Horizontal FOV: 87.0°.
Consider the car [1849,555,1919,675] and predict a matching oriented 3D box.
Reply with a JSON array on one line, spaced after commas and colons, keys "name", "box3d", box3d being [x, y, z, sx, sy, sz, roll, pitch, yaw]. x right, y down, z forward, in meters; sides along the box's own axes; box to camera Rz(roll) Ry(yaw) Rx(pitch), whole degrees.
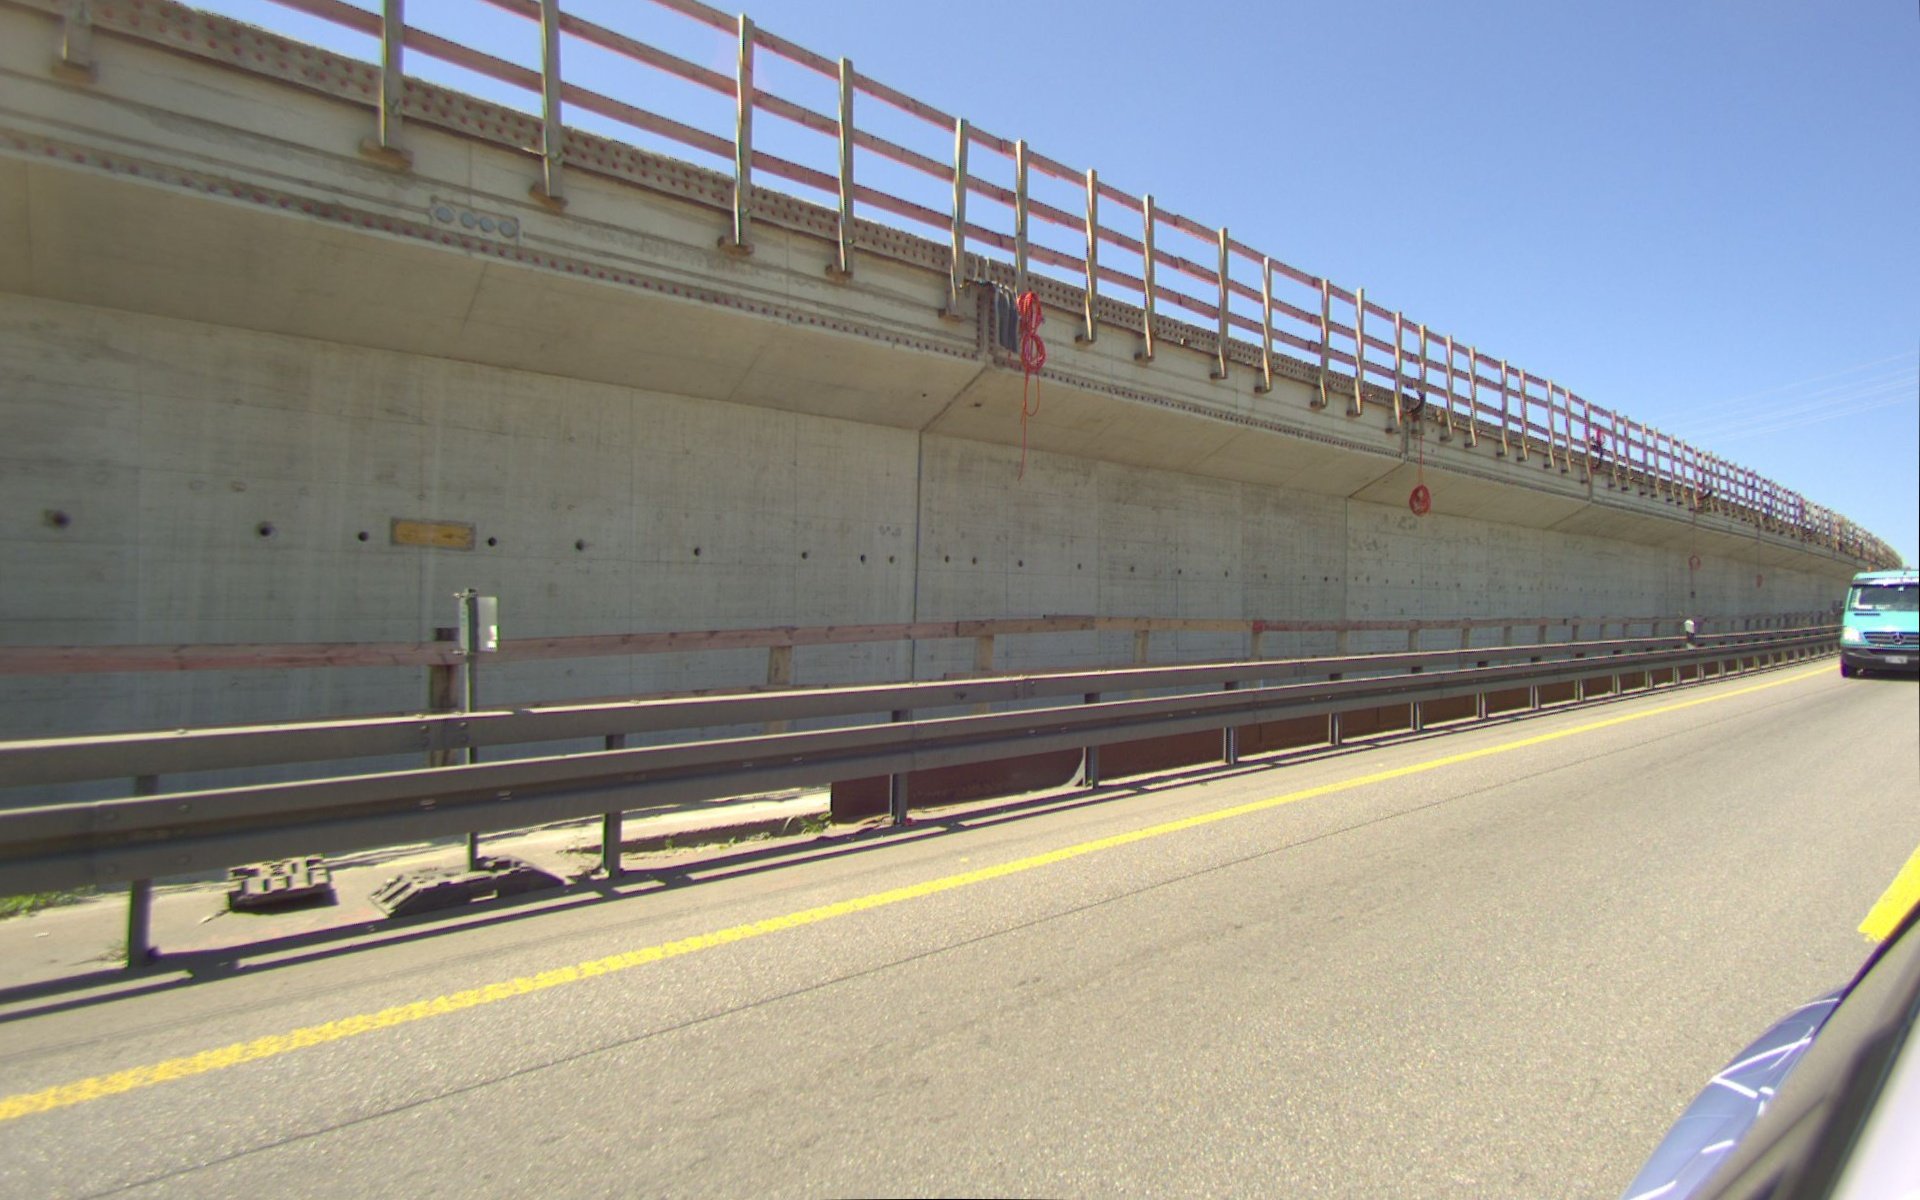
[{"name": "car", "box3d": [21.758, 0.284, 22.636, 7.087, 2.412, 1.965, 0, -2, -43]}]
